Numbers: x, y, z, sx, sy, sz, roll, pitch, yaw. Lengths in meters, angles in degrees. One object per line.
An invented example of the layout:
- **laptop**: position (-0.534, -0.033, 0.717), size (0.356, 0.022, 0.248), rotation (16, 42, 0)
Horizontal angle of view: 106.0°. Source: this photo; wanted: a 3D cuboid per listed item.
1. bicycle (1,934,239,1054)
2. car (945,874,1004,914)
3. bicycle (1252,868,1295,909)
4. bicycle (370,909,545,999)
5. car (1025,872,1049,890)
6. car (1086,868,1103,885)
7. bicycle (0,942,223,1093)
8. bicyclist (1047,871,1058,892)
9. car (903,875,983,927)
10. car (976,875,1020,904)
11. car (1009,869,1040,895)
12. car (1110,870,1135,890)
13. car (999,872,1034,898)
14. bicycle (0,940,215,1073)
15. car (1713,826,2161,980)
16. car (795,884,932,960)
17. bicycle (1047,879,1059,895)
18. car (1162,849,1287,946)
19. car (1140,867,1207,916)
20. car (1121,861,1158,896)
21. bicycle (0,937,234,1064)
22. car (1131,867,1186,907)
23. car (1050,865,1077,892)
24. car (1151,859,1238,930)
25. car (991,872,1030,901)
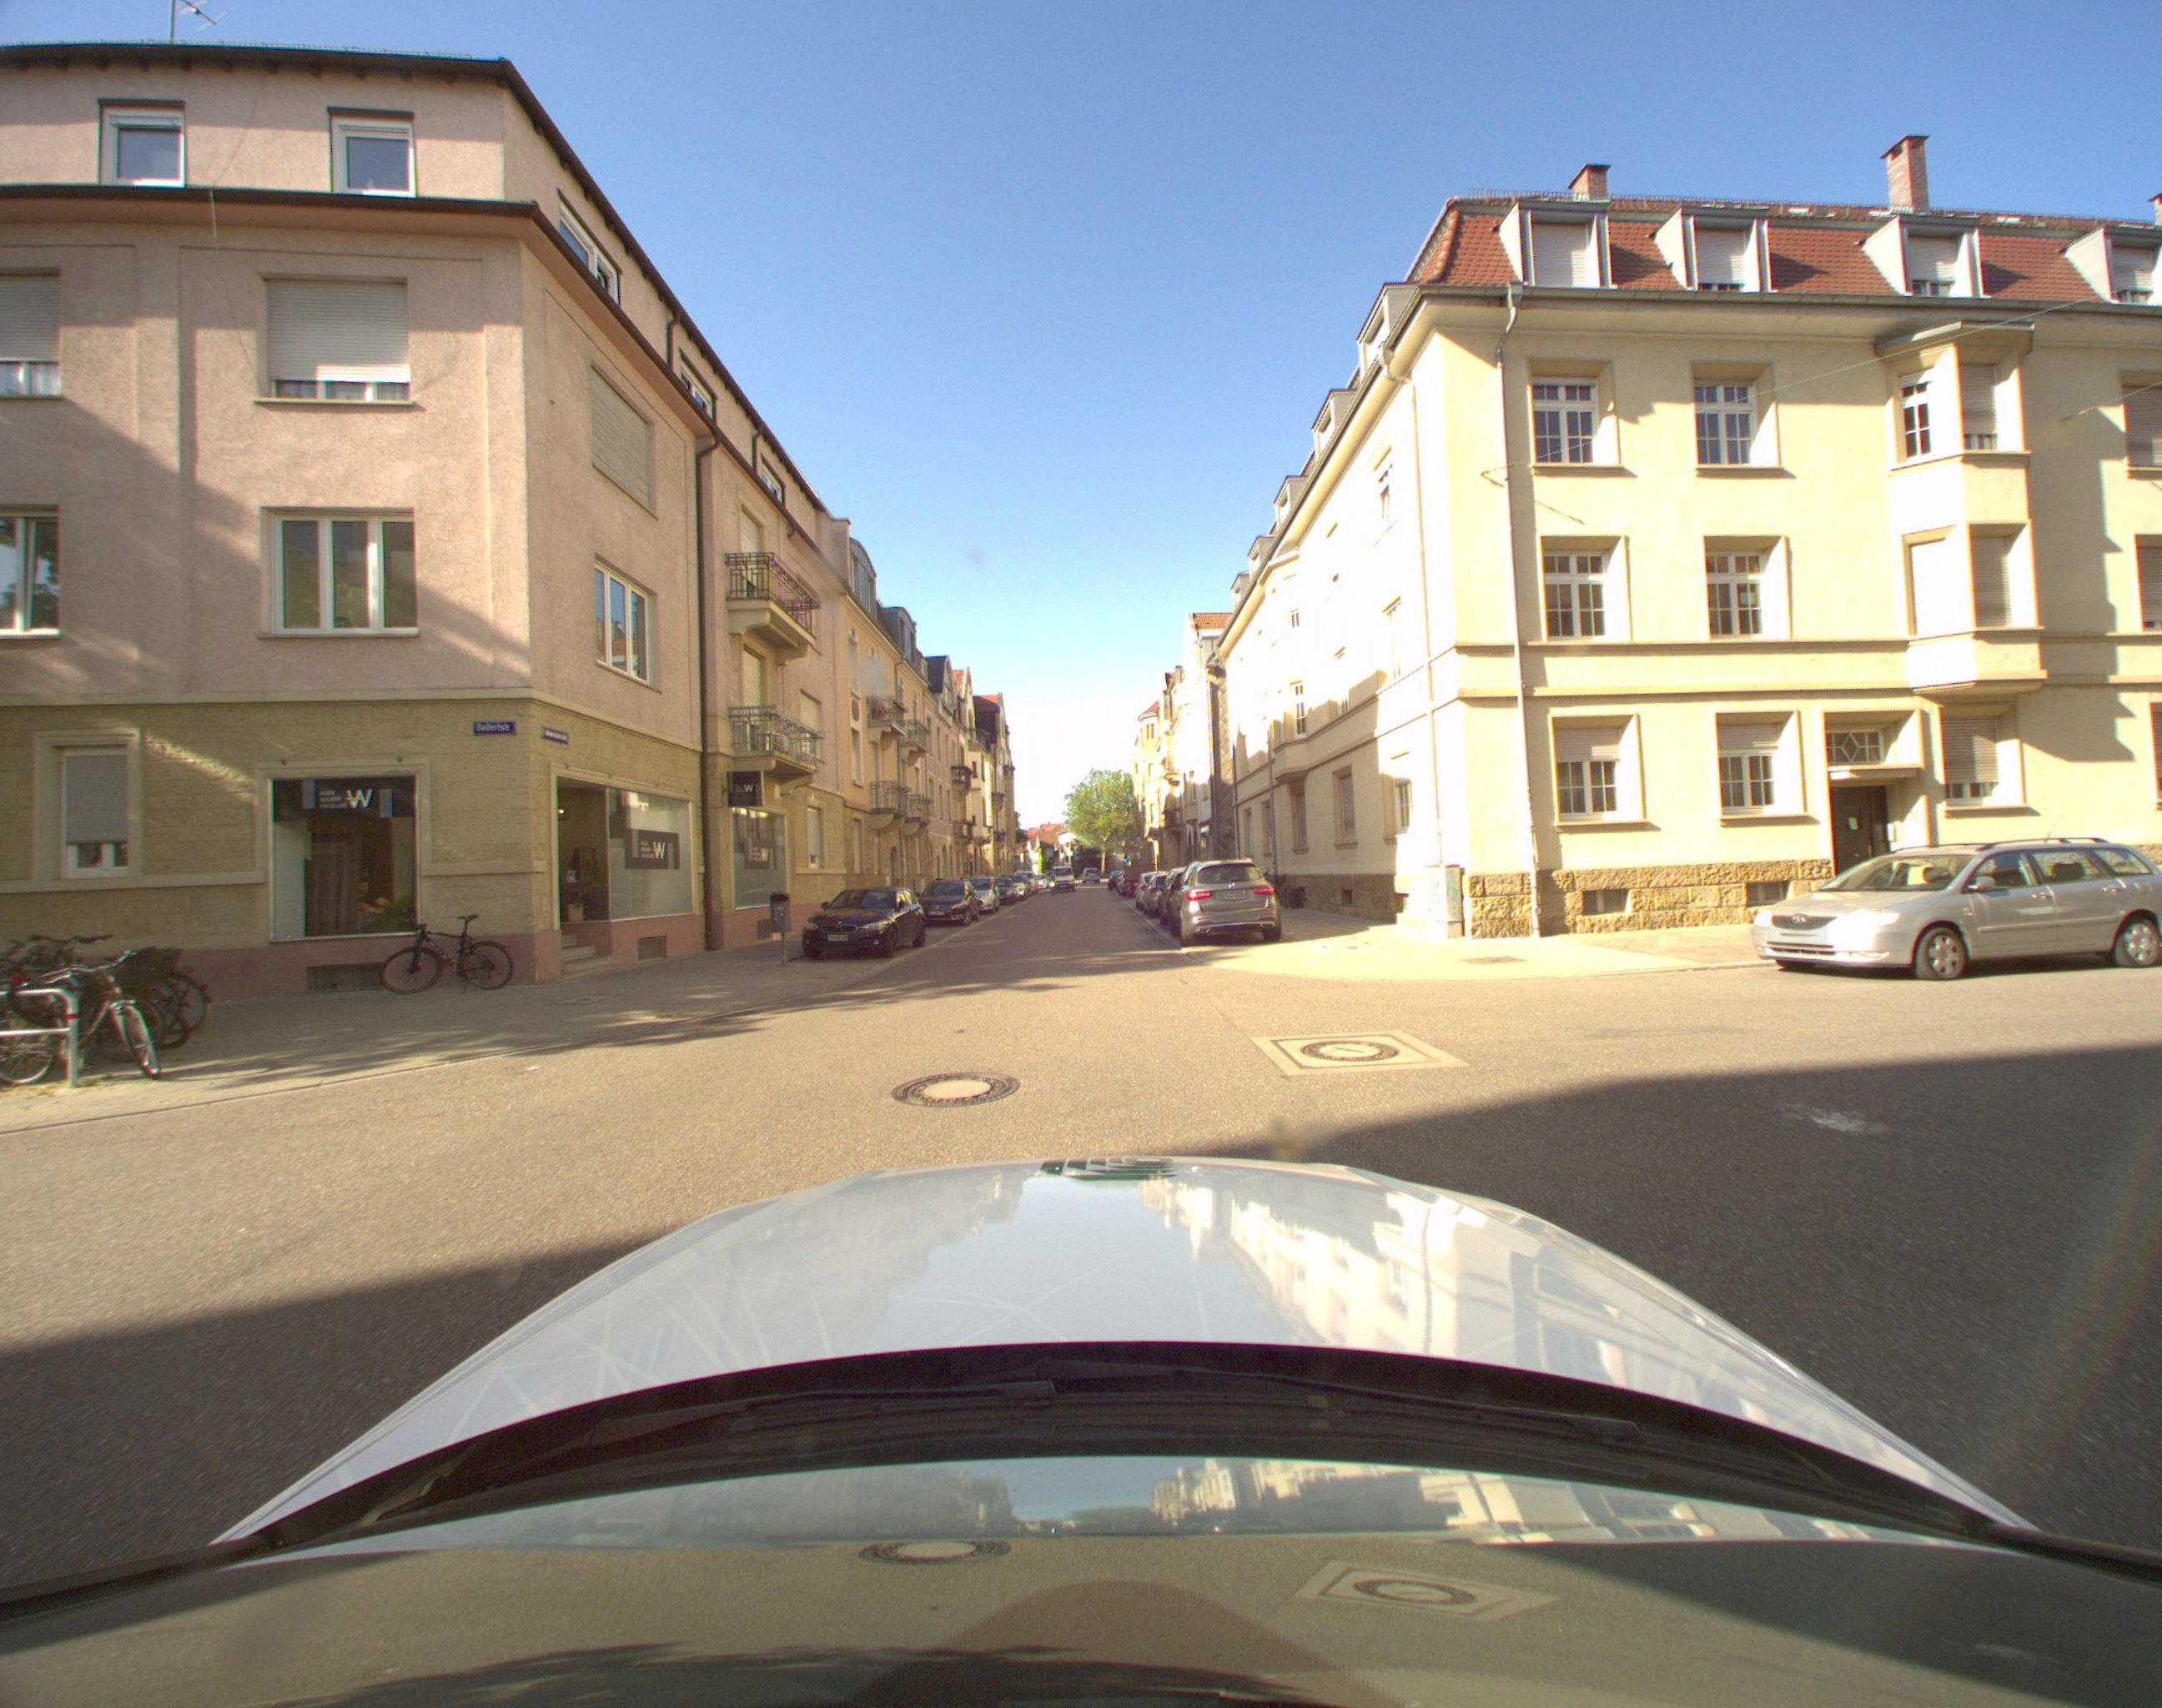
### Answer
- **bicycle**: position (-10.665, 1.538, 9.071), size (1.893, 1.135, 0.525), rotation (-3, 0, -3)
- **car**: position (-4.553, 1.721, 35.499), size (1.997, 1.619, 4.485), rotation (0, -2, -1)
- **bicycle**: position (6.269, 1.091, 26.660), size (0.759, 1.247, 2.591), rotation (-2, -1, 0)
- **bicycle**: position (-8.947, 1.419, 11.751), size (1.896, 1.135, 0.646), rotation (-2, 0, -7)
- **car**: position (-4.033, 2.529, 75.324), size (1.997, 1.605, 4.485), rotation (0, -2, -1)
- **car**: position (1.546, 2.649, 96.232), size (1.997, 1.914, 4.486), rotation (-1, -2, 0)
- **bicycle**: position (-8.922, 1.441, 7.223), size (1.891, 1.135, 0.648), rotation (-3, 0, 1)
- **bicyclist**: position (-1.955, 1.879, 56.424), size (0.660, 1.385, 0.753), rotation (-4, -2, -1)
- **car**: position (-4.602, 1.549, 27.800), size (1.997, 1.582, 4.485), rotation (0, -2, -1)
- **car**: position (-4.451, 1.928, 44.274), size (1.973, 1.483, 4.326), rotation (0, -2, -1)
- **car**: position (-4.146, 2.075, 60.136), size (1.997, 1.788, 4.485), rotation (0, -2, -1)
- **car**: position (3.280, 2.095, 64.957), size (1.832, 1.432, 4.028), rotation (-4, -3, 1)
- **car**: position (-4.302, 2.069, 54.529), size (1.997, 1.619, 4.485), rotation (0, -2, -1)
- **bicycle**: position (-9.714, 1.480, 7.965), size (1.891, 1.135, 0.526), rotation (-3, 0, 1)
- **car**: position (10.465, 0.543, 9.763), size (4.533, 1.468, 1.824), rotation (-2, -3, -7)
- **car**: position (-4.536, 1.377, 17.679), size (1.673, 1.427, 4.275), rotation (-1, -2, 2)
- **bicycle**: position (-1.940, 2.269, 56.394), size (0.660, 1.019, 2.065), rotation (-4, -2, -1)
- **car**: position (2.860, 0.903, 17.277), size (1.906, 1.645, 4.775), rotation (-4, -3, 2)
- **car**: position (3.077, 1.277, 27.957), size (1.832, 1.431, 4.028), rotation (-4, -3, 1)
- **car**: position (3.275, 1.450, 46.146), size (1.832, 1.787, 4.028), rotation (-3, -3, 1)
- **bicycle**: position (-10.105, 1.505, 8.481), size (1.893, 1.135, 0.525), rotation (-3, 0, -3)
- **car**: position (3.109, 1.367, 33.348), size (1.832, 1.431, 4.028), rotation (-4, -3, 1)
- **car**: position (-1.311, 1.902, 63.508), size (1.997, 2.000, 4.485), rotation (0, -2, -1)
- **car**: position (2.942, 1.072, 21.895), size (1.739, 1.608, 4.028), rotation (-4, -3, 1)
- **car**: position (-4.177, 1.934, 49.028), size (1.997, 1.619, 4.485), rotation (0, -2, -1)
